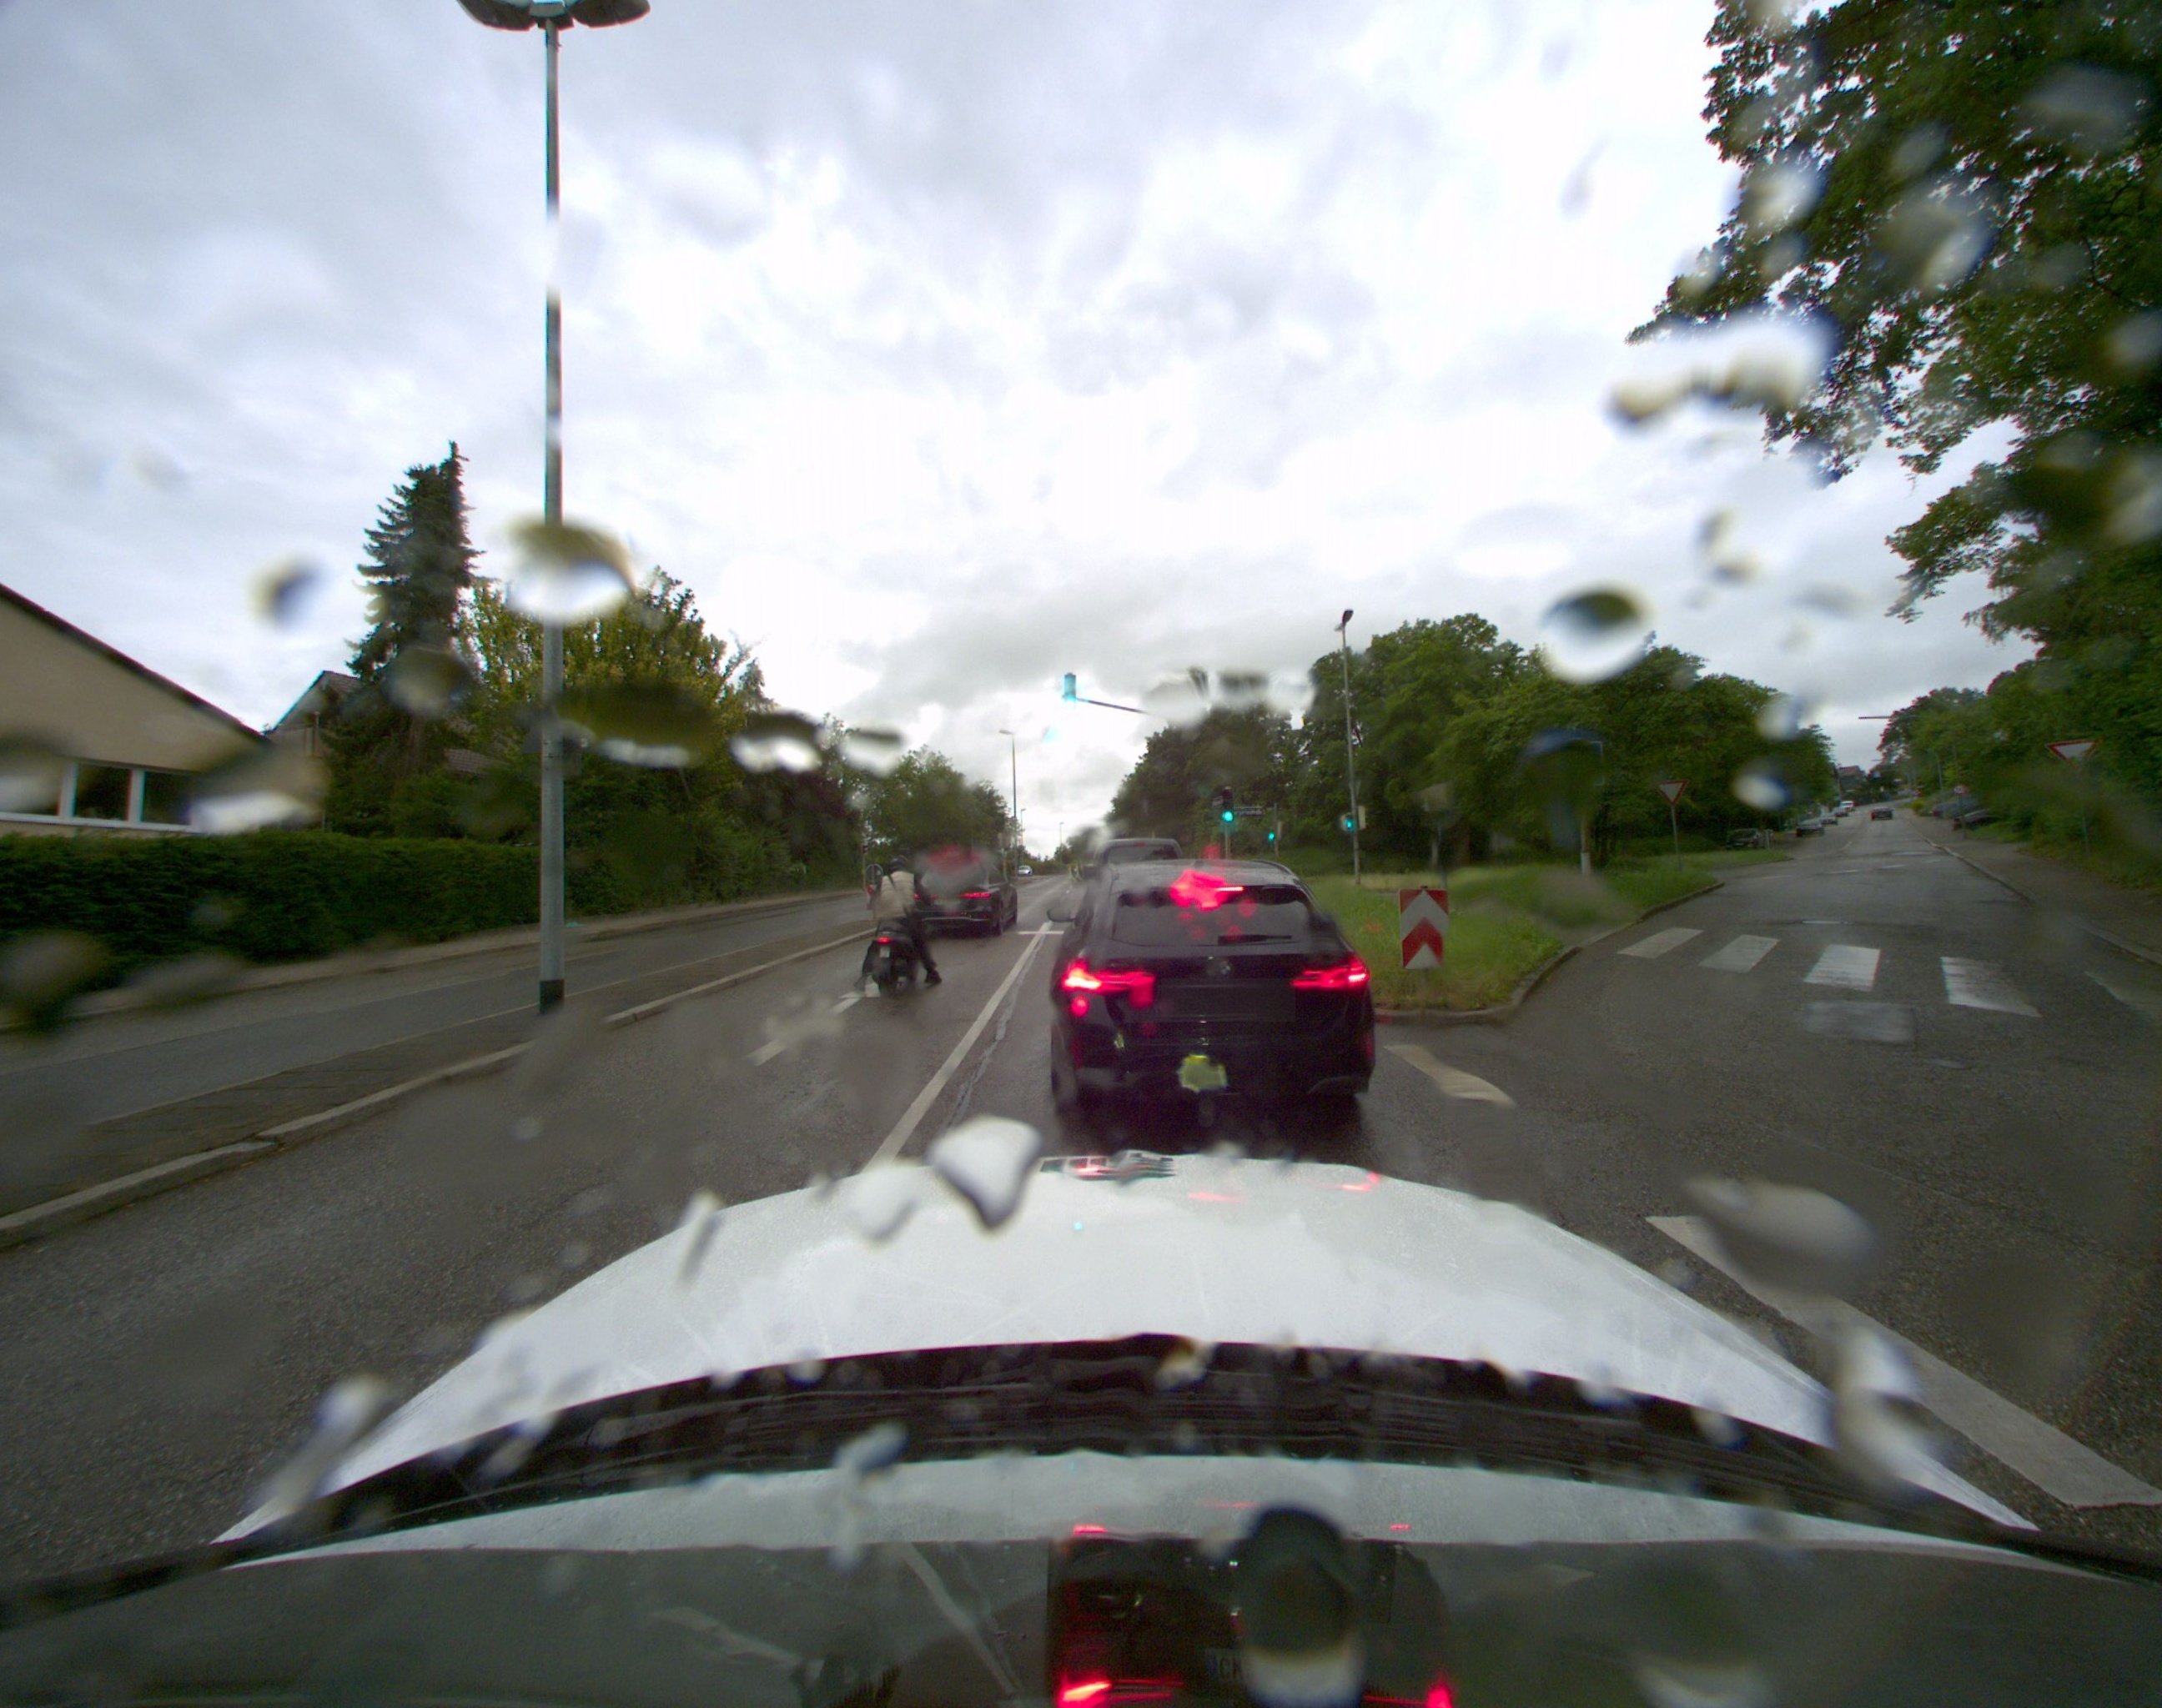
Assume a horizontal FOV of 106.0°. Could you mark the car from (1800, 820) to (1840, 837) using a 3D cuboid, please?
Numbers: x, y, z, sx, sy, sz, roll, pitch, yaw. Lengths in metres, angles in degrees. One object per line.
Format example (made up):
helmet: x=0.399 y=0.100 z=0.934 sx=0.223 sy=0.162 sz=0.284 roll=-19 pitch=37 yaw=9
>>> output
car: x=66.421 y=-2.260 z=73.192 sx=4.014 sy=1.446 sz=1.686 roll=0 pitch=-1 yaw=-32

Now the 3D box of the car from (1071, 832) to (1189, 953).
car: x=0.812 y=0.580 z=14.357 sx=1.760 sy=1.810 sz=3.907 roll=-1 pitch=0 yaw=2

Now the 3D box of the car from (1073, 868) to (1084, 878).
car: x=-0.452 y=3.479 z=149.627 sx=2.018 sy=1.563 sz=3.877 roll=-3 pitch=-1 yaw=1

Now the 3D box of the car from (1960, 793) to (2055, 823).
car: x=61.085 y=-2.992 z=53.788 sx=1.969 sy=1.648 sz=3.950 roll=-2 pitch=0 yaw=-45

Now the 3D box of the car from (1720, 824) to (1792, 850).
car: x=45.976 y=-1.165 z=55.480 sx=3.994 sy=1.571 sz=1.819 roll=-2 pitch=0 yaw=-15

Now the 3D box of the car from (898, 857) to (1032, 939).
car: x=-2.239 y=0.803 z=16.994 sx=2.007 sy=1.415 sz=4.488 roll=-1 pitch=0 yaw=2

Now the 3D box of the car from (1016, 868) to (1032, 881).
car: x=-7.657 y=2.762 z=109.201 sx=1.721 sy=1.485 sz=4.157 roll=-4 pitch=0 yaw=1

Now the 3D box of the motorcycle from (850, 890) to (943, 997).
motorcycle: x=-2.166 y=1.026 z=9.748 sx=0.738 sy=1.119 sz=1.427 roll=-1 pitch=0 yaw=2

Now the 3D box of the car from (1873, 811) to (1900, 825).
car: x=95.499 y=-4.300 z=96.610 sx=1.921 sy=1.458 sz=4.242 roll=-1 pitch=-1 yaw=41

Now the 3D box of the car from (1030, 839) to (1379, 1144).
car: x=0.689 y=0.730 z=6.012 sx=1.758 sy=1.536 sz=3.674 roll=-1 pitch=-1 yaw=2

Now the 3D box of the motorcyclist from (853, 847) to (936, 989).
motorcyclist: x=-2.228 y=0.750 z=9.793 sx=0.842 sy=1.647 sz=0.468 roll=-1 pitch=0 yaw=1
